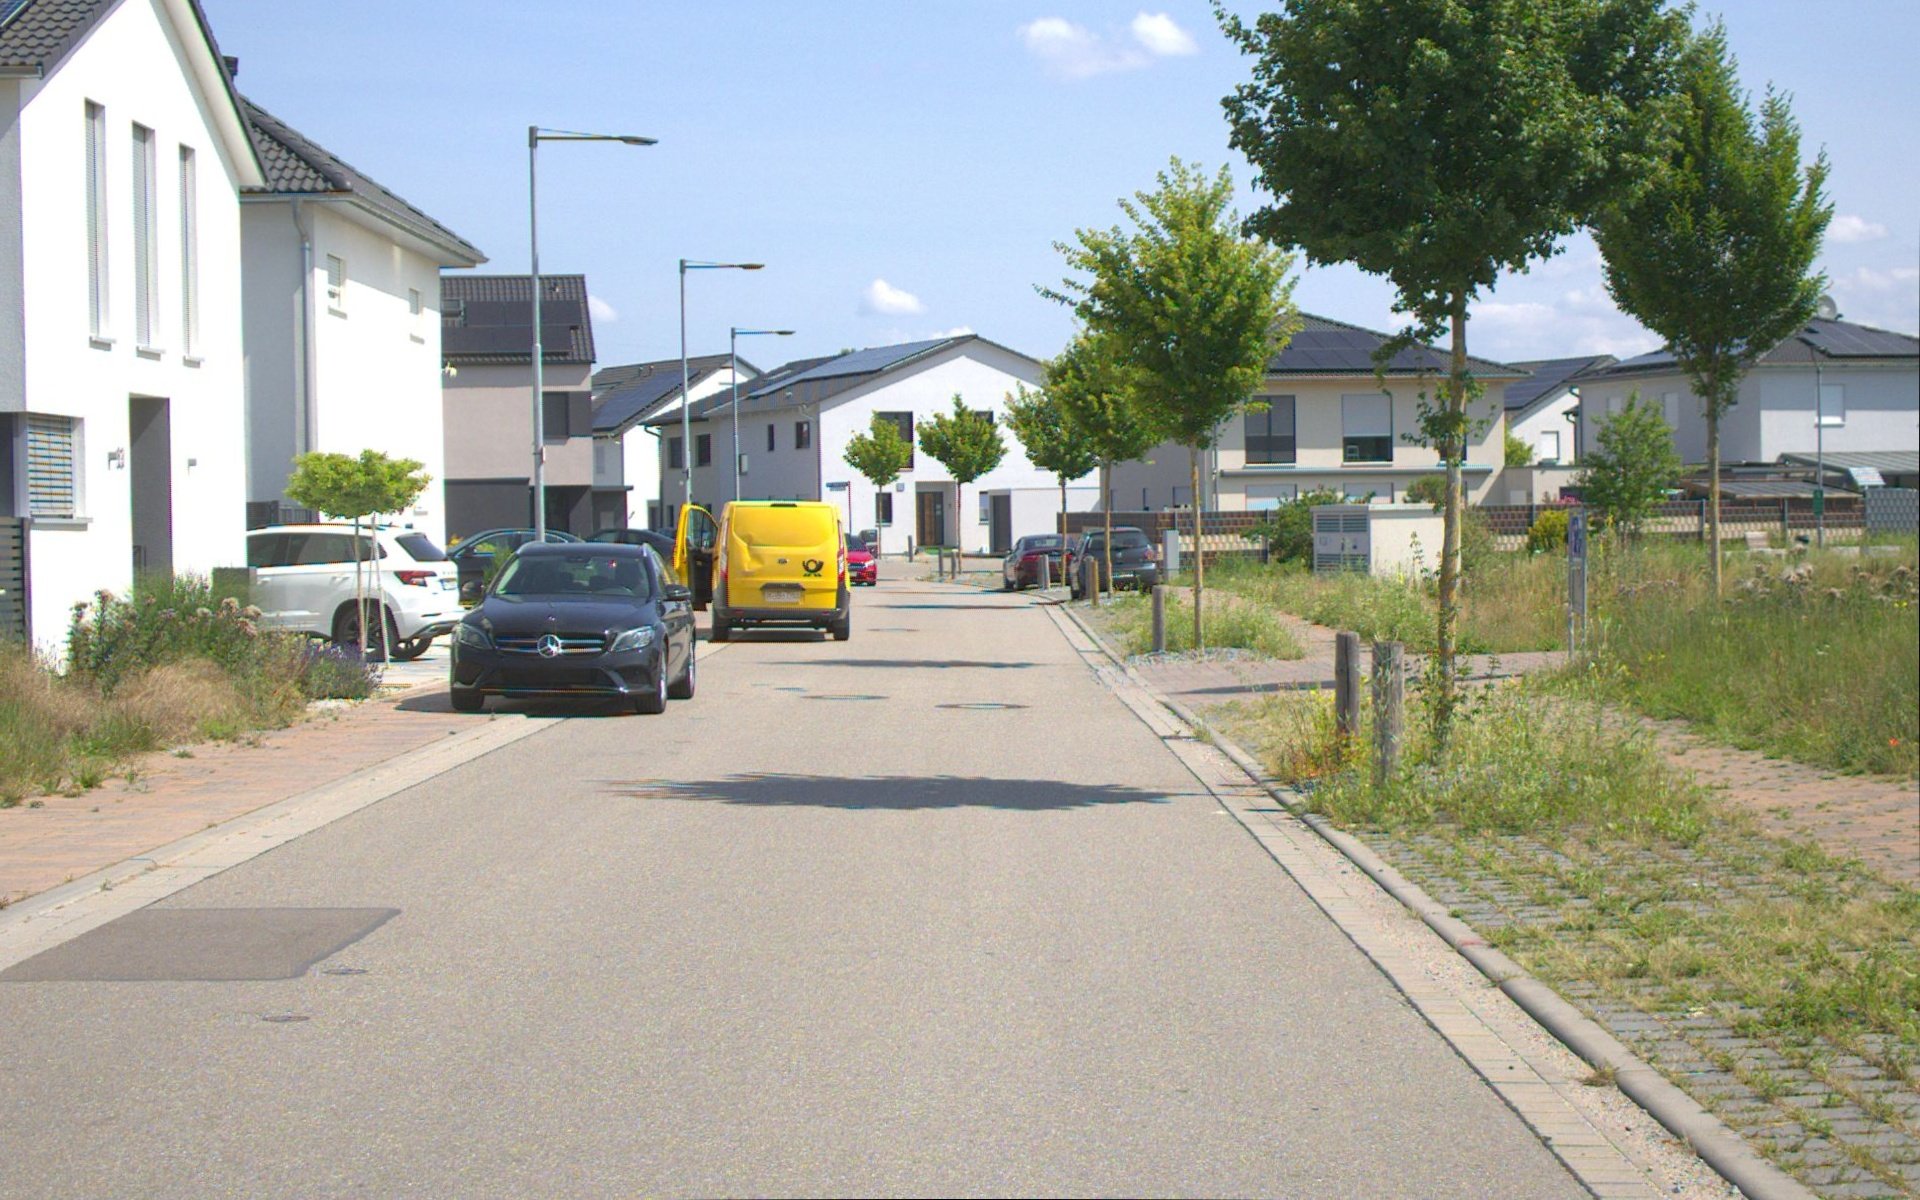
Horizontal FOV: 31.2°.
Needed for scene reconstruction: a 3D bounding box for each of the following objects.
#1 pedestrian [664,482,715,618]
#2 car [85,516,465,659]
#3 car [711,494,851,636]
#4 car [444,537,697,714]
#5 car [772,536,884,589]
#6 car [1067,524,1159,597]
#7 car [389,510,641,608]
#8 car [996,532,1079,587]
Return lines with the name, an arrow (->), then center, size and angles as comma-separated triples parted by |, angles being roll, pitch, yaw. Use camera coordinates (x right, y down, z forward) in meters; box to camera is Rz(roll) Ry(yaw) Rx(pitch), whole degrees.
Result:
pedestrian -> -4.039, -0.742, 51.374 | 0.651, 2.007, 1.124 | -1, 0, 0
car -> -8.093, -0.165, 40.776 | 4.069, 1.576, 1.784 | 1, 2, 6
car -> -2.643, -0.498, 50.346 | 1.941, 1.975, 4.217 | -1, 0, -4
car -> -3.377, 0.172, 30.476 | 1.745, 1.400, 4.160 | 2, 1, 0
car -> -3.725, -1.021, 96.152 | 1.993, 1.427, 4.702 | -1, 0, -17
car -> 3.105, -0.788, 70.346 | 1.639, 1.398, 3.811 | -1, 0, -1
car -> -7.923, -0.731, 61.145 | 4.159, 1.499, 1.816 | 3, 0, -15
car -> 1.981, -1.039, 88.976 | 1.627, 1.318, 3.834 | -1, -1, -6
